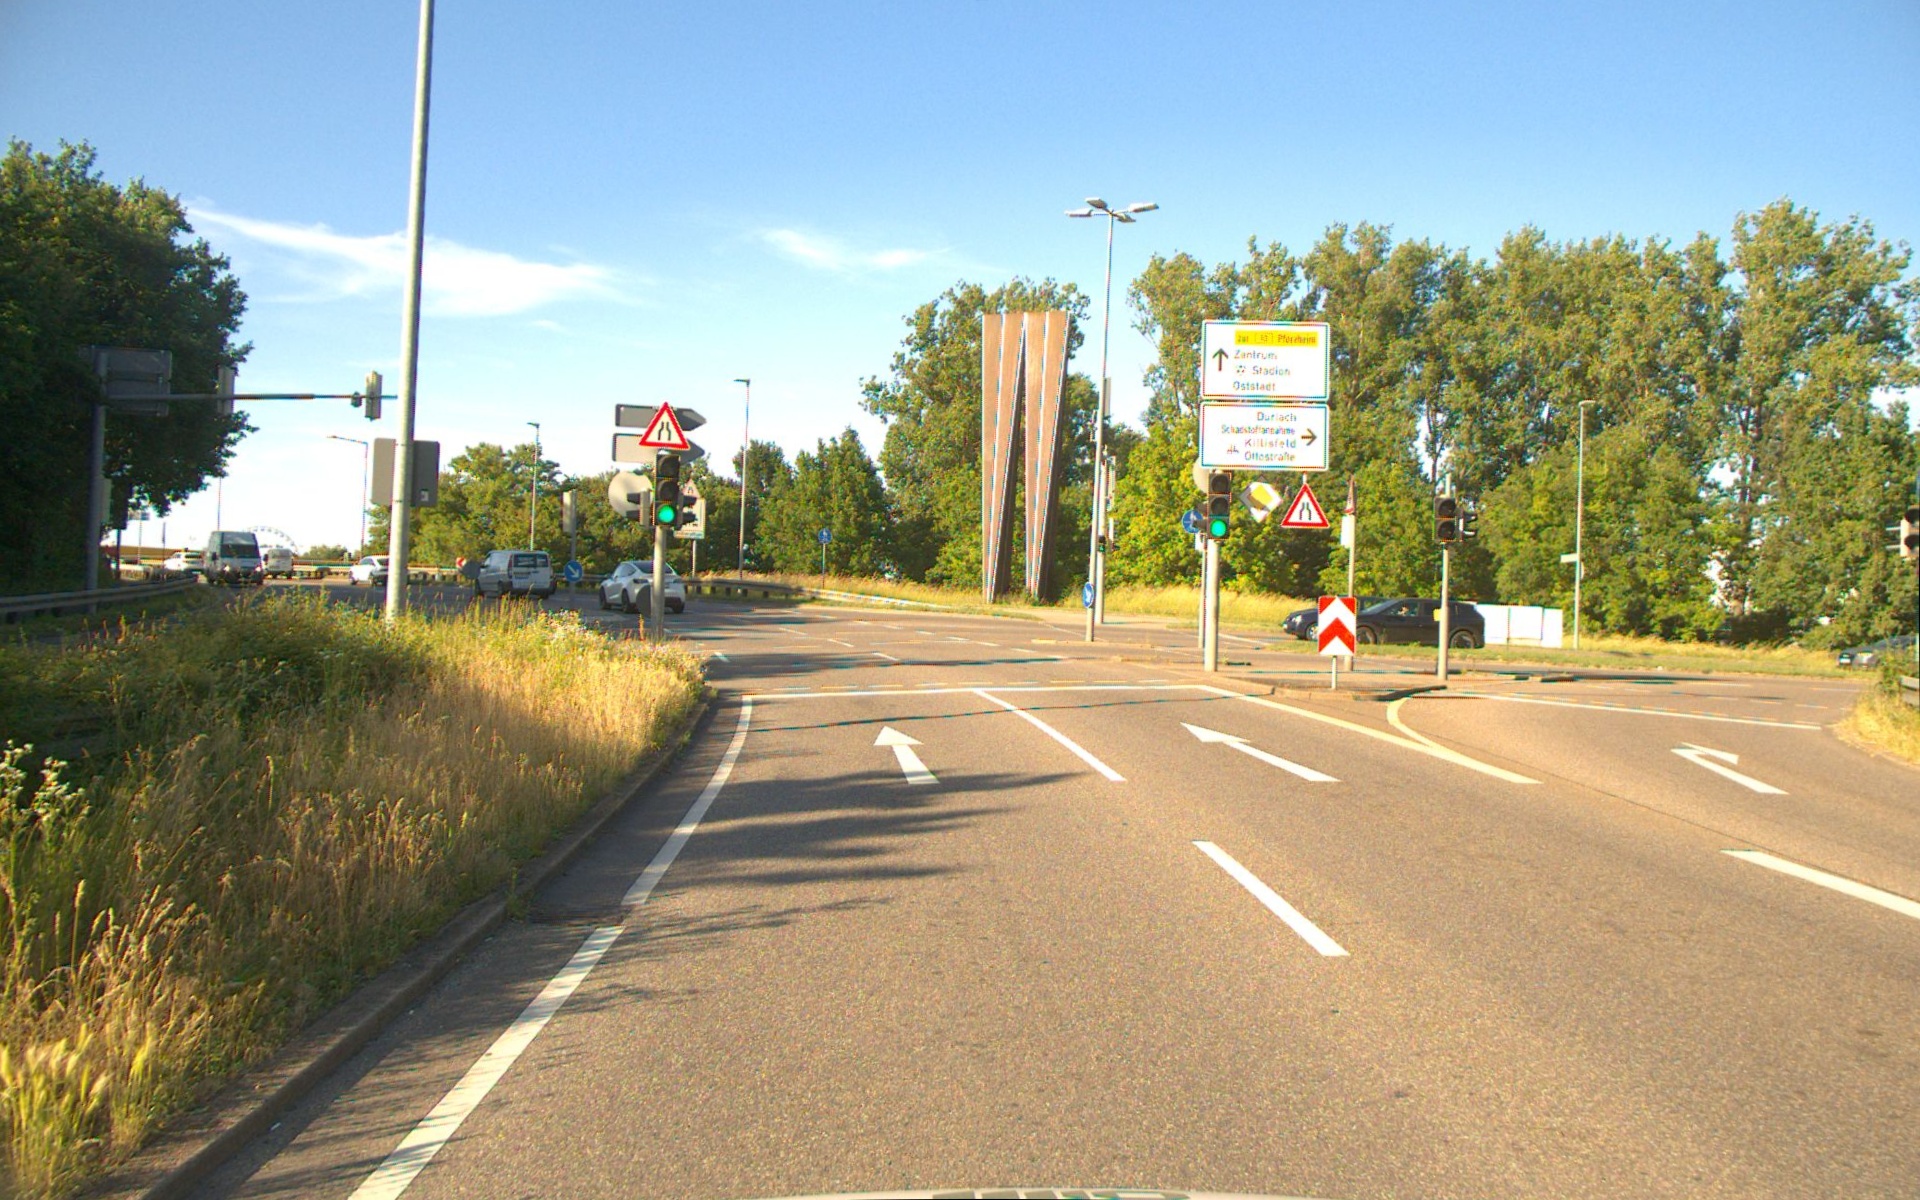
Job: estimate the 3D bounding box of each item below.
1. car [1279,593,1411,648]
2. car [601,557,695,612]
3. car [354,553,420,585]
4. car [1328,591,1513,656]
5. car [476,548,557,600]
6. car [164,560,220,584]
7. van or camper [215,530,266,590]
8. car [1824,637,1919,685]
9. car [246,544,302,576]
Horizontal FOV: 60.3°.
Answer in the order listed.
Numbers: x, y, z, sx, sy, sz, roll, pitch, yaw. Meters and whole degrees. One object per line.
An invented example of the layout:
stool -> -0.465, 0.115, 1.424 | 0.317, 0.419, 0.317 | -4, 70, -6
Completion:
car -> 12.092, 0.634, 52.086 | 3.672, 1.427, 1.693 | 3, 2, -4
car -> -10.199, -0.519, 53.821 | 1.969, 1.668, 4.094 | 2, 0, -26
car -> -29.377, -1.610, 84.735 | 1.955, 1.500, 4.099 | 1, 1, -38
car -> 12.442, 0.621, 44.831 | 4.372, 1.489, 1.998 | 3, 1, -6
car -> -17.484, -1.046, 65.095 | 1.973, 1.912, 4.205 | 2, 0, -31
car -> -52.124, -1.901, 112.218 | 2.256, 1.534, 3.936 | 3, -1, -44
van or camper -> -34.685, -1.951, 79.641 | 2.024, 2.719, 6.878 | 1, 1, -25
car -> 30.695, 2.023, 54.456 | 3.616, 1.411, 1.610 | 2, 0, 0
car -> -41.020, -2.400, 98.808 | 1.957, 1.728, 3.942 | 1, 1, -40
